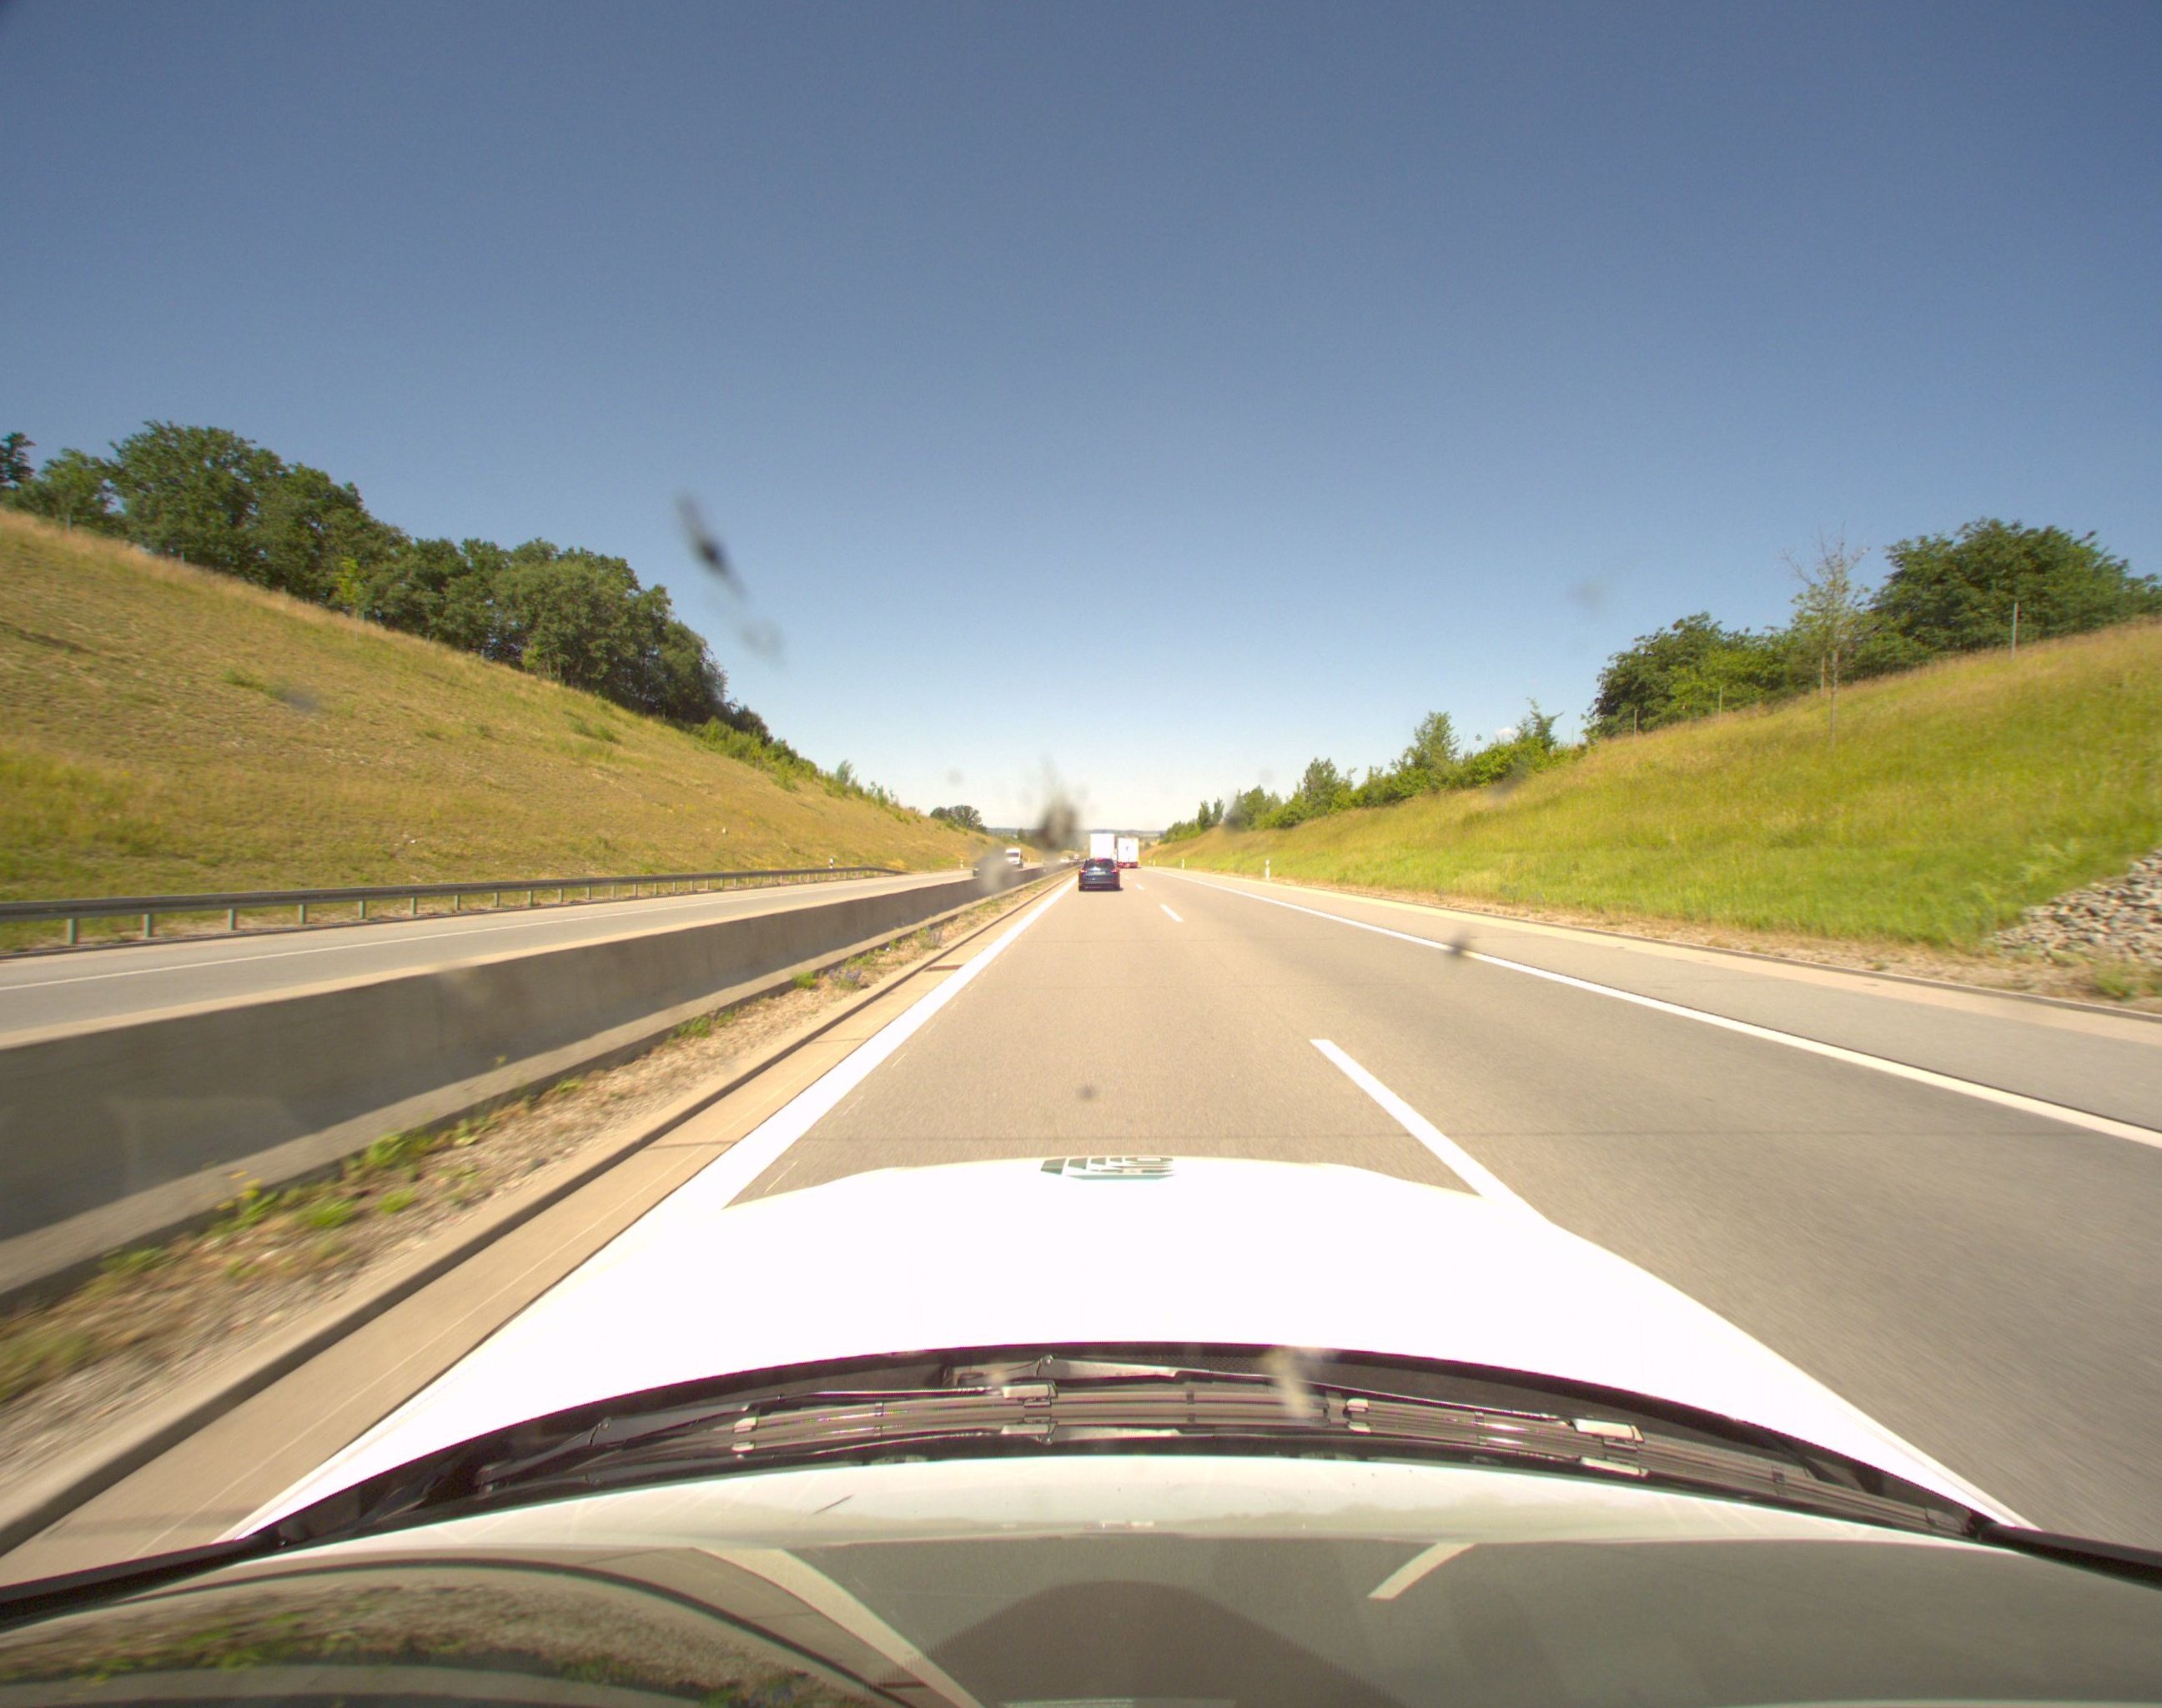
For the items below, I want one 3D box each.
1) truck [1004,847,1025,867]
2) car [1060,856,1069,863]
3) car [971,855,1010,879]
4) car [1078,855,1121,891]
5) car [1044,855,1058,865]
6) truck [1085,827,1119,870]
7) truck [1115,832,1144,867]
[{"bbox_3d":[-8.468,0.398,104.143,2.105,2.460,5.951,0,0,0],"label":"truck"},{"bbox_3d":[-3.779,1.379,188.869,1.769,1.601,4.040,0,0,1],"label":"car"},{"bbox_3d":[-5.714,0.791,51.767,1.847,1.461,4.769,0,0,1],"label":"car"},{"bbox_3d":[0.790,0.796,35.784,1.771,1.441,3.788,-1,0,0],"label":"car"},{"bbox_3d":[-4.504,0.937,122.229,1.847,1.461,4.333,0,0,1],"label":"car"},{"bbox_3d":[2.475,-0.581,90.234,3.196,4.381,11.246,0,0,4],"label":"truck"},{"bbox_3d":[6.605,-0.556,109.585,3.588,4.381,11.245,0,0,4],"label":"truck"}]
